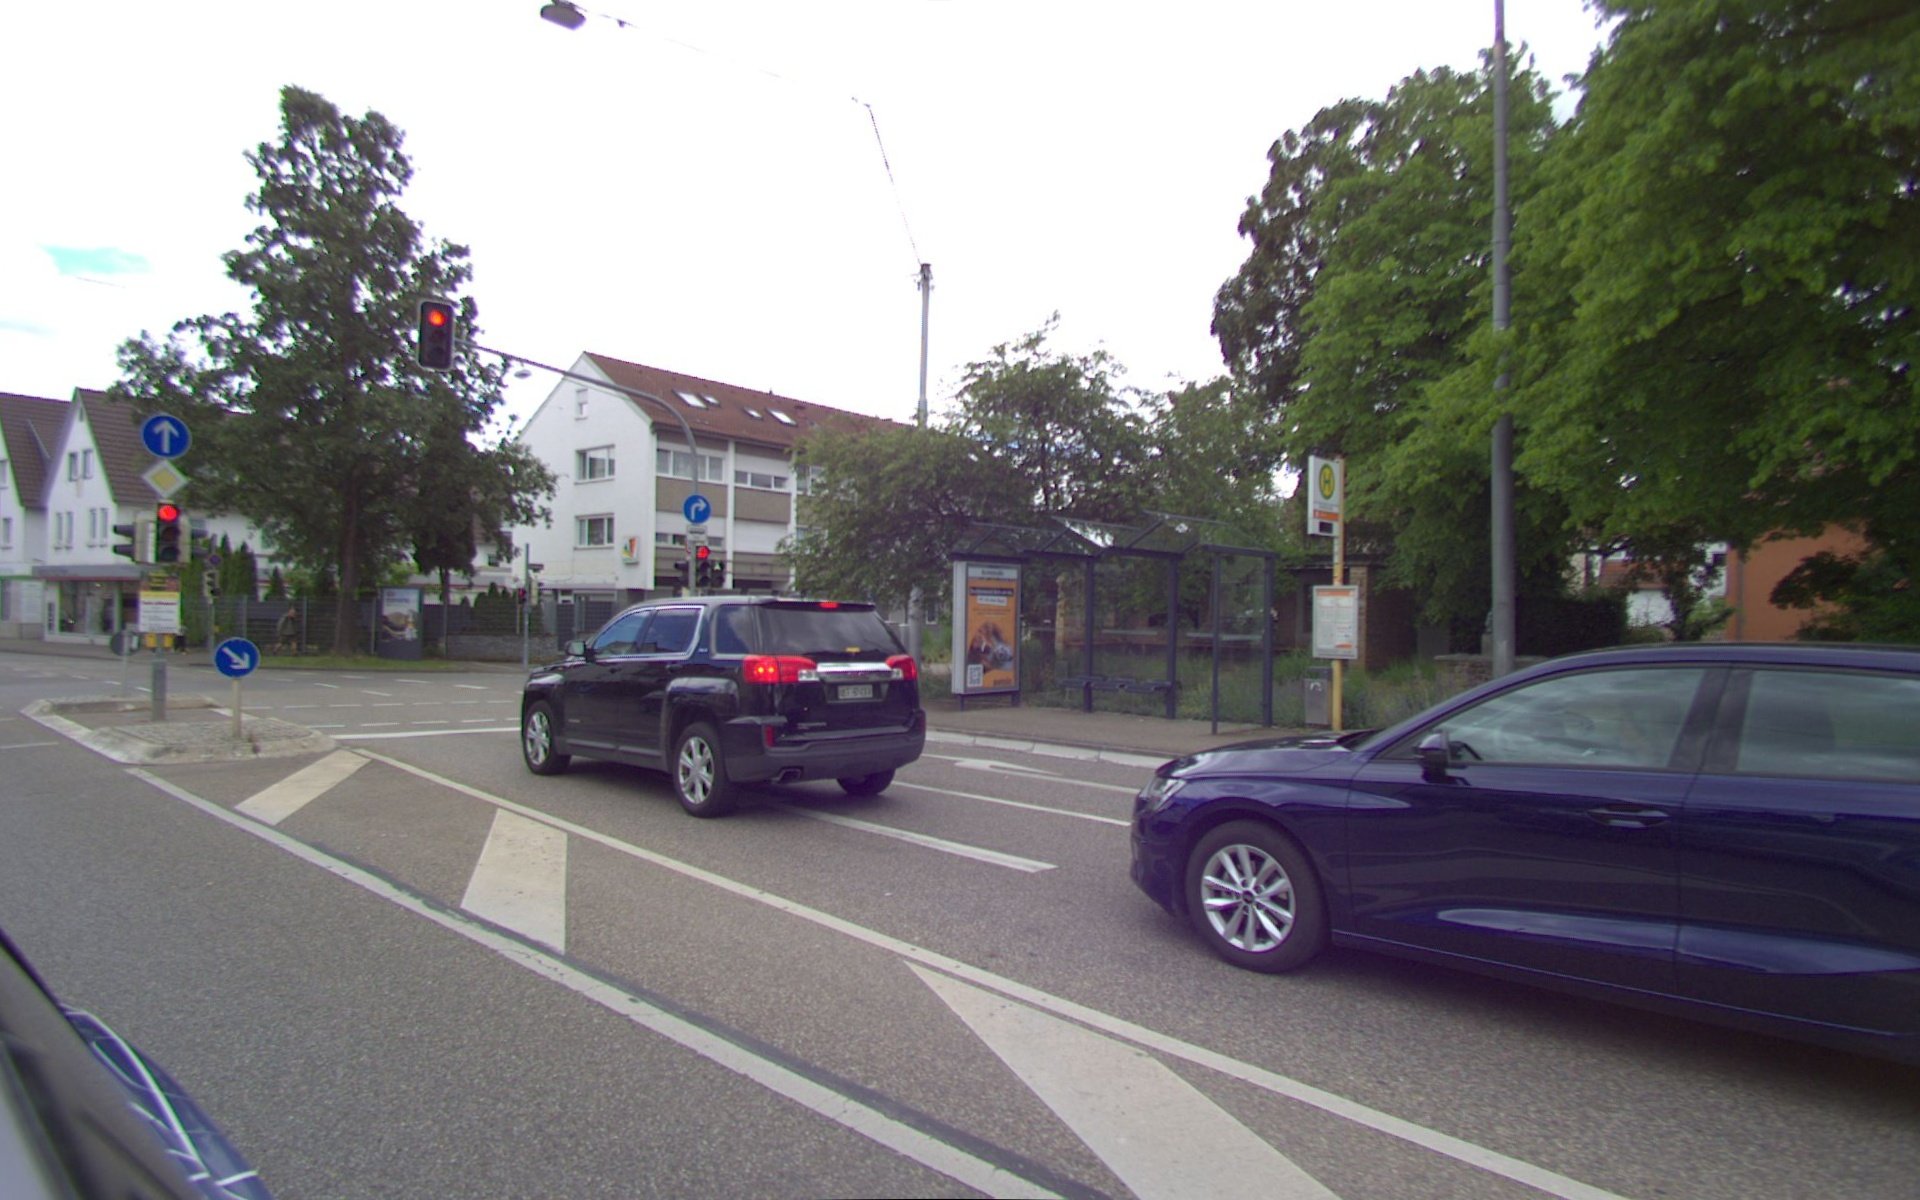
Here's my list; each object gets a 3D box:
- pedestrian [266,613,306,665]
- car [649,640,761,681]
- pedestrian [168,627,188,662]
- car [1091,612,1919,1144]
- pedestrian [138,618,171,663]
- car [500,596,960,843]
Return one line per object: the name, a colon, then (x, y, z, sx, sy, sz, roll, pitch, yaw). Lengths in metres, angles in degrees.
pedestrian: (-23.990, 1.375, 36.027, 1.227, 1.767, 0.814, 0, 0, 35)
car: (-9.279, 2.198, 36.986, 1.771, 1.409, 3.595, -1, -3, 41)
pedestrian: (-28.863, 1.639, 37.337, 0.547, 1.271, 0.380, 0, 0, 24)
car: (2.644, 0.798, 3.886, 4.132, 1.431, 1.546, 0, -1, 44)
pedestrian: (-29.330, 1.471, 36.844, 0.861, 1.617, 0.636, 0, 0, 24)
car: (-2.269, 0.839, 9.038, 4.597, 1.647, 1.738, 0, -3, 44)
